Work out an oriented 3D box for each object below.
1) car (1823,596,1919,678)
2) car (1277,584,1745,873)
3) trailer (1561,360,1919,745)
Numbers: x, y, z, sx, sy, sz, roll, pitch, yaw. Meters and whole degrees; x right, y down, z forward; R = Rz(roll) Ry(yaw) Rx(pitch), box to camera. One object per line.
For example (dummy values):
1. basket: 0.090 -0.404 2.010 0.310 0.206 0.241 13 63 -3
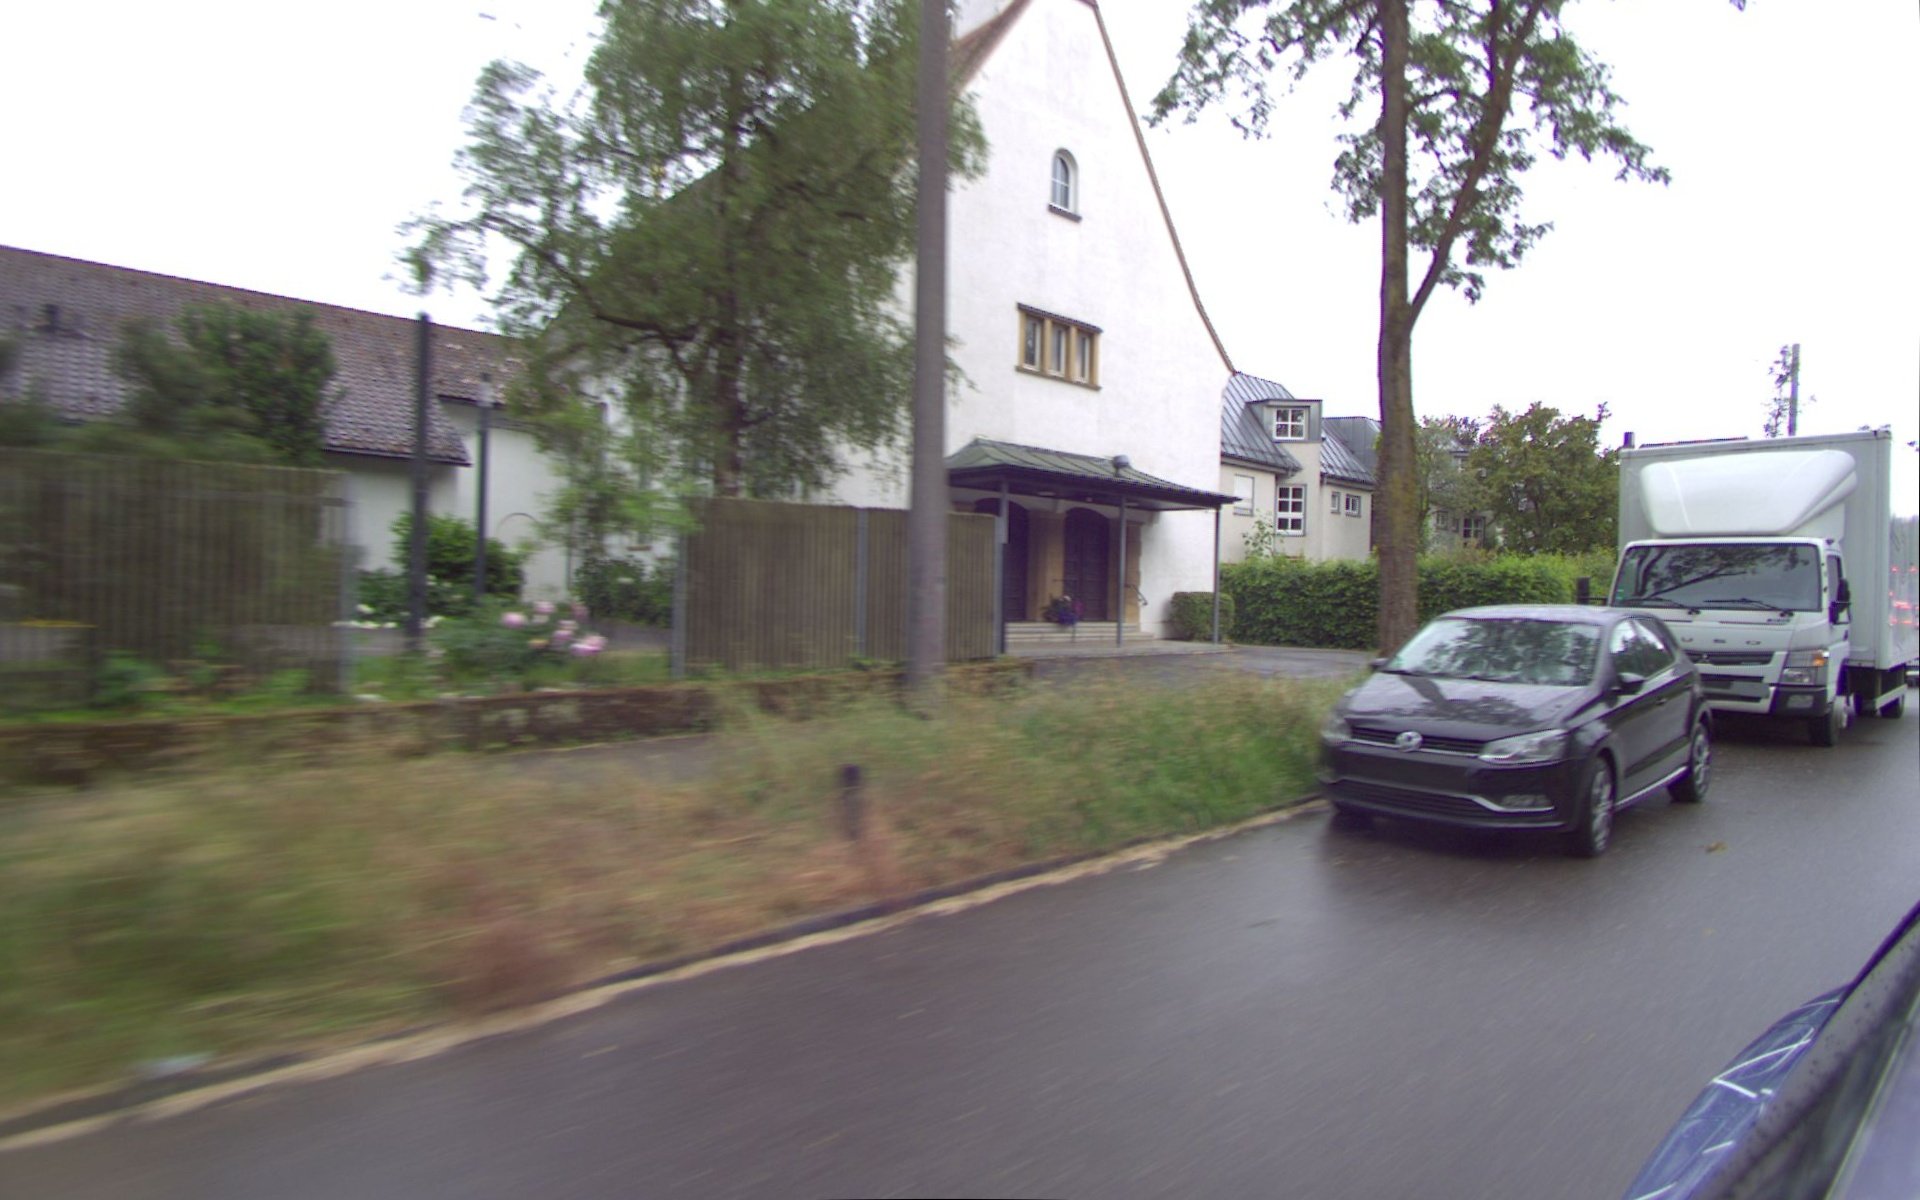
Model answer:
1. car: 18.773 0.681 20.218 4.470 1.493 1.798 0 0 -42
2. car: 4.032 0.663 7.124 3.930 1.483 1.643 0 0 -41
3. trailer: 10.693 -0.435 13.050 8.104 3.553 2.738 0 -1 -42
